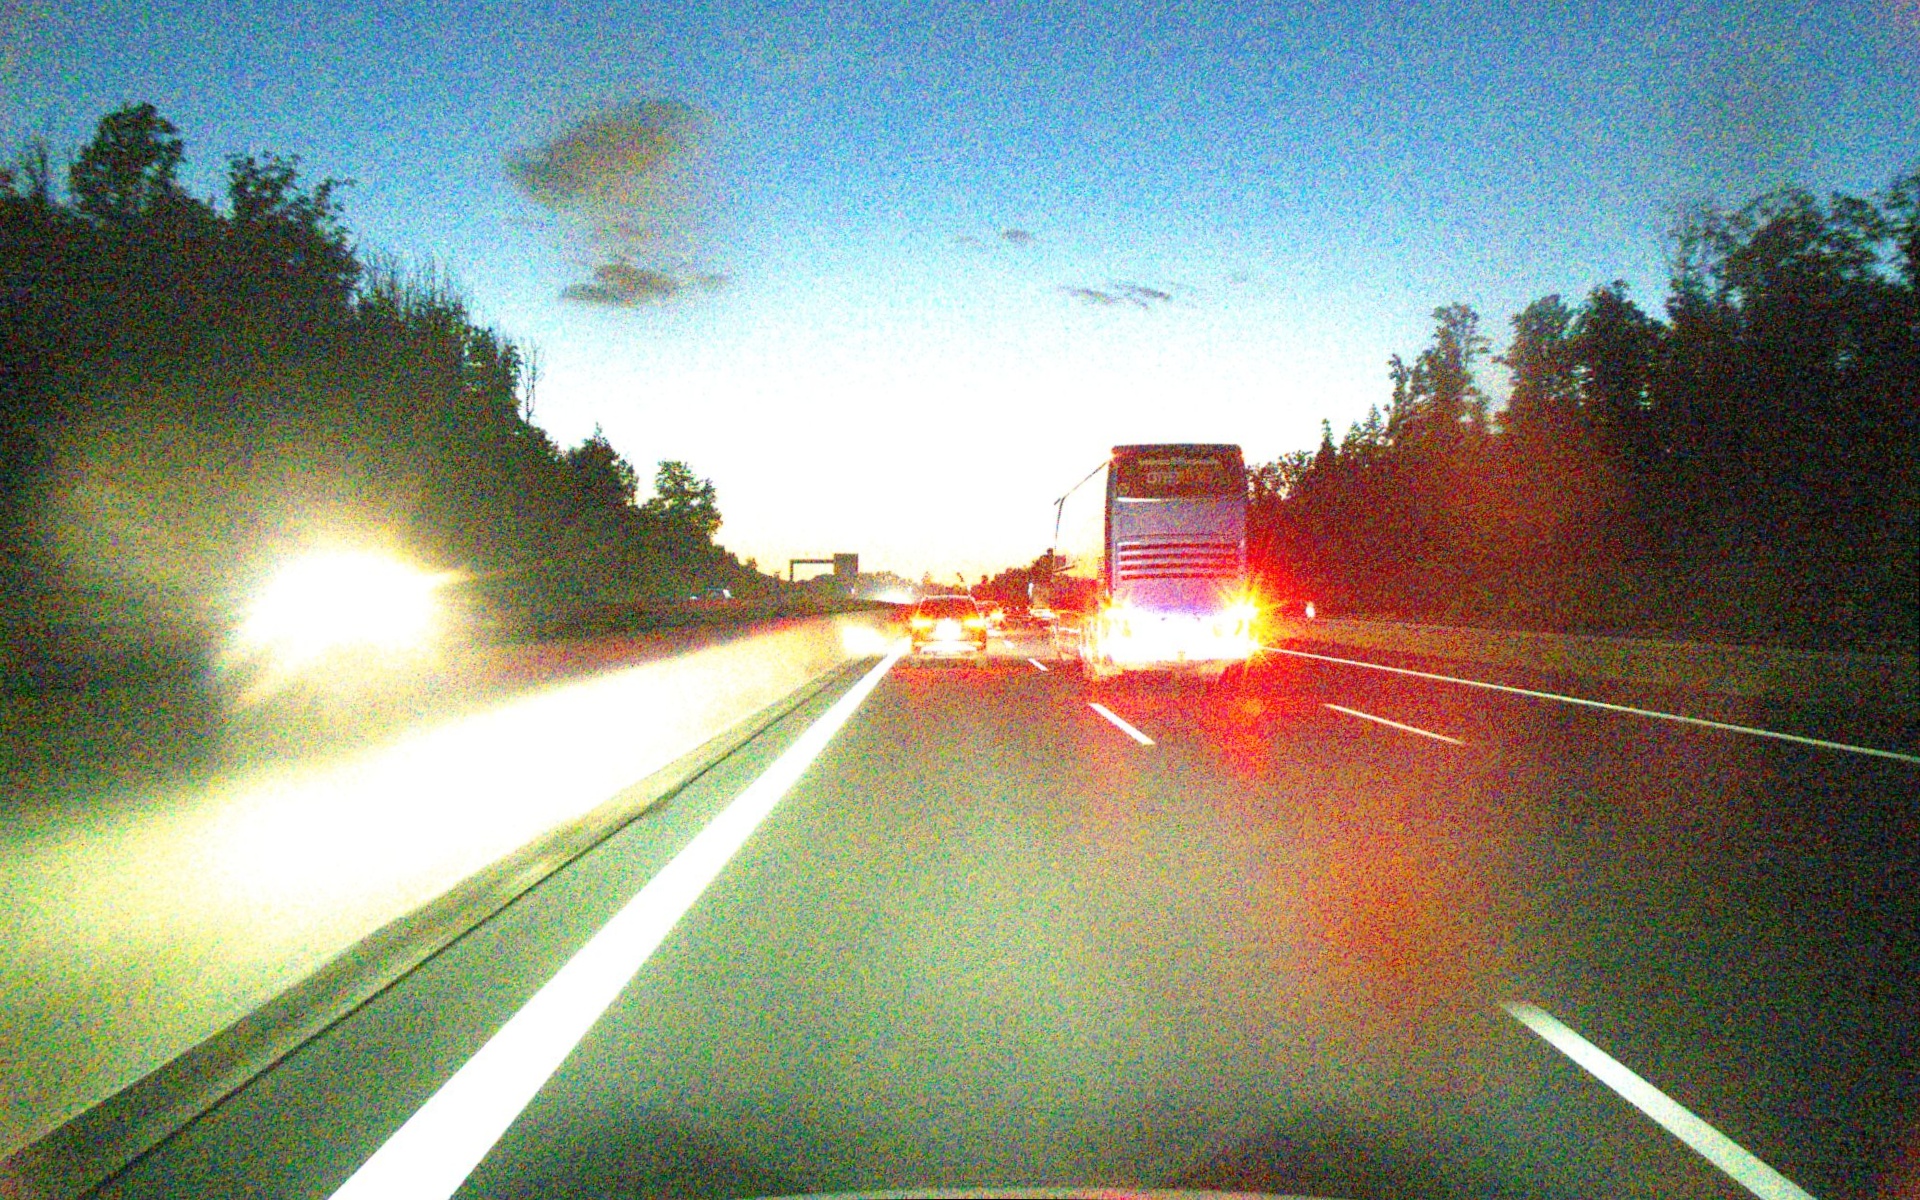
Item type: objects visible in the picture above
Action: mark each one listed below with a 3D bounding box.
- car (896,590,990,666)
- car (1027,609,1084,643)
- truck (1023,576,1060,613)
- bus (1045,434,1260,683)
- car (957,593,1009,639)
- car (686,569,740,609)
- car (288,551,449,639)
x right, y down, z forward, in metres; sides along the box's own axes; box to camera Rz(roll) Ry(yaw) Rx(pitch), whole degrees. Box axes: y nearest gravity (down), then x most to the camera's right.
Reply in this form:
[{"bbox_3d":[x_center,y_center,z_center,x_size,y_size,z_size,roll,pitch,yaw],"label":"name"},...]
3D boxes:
[{"bbox_3d":[-0.435,0.636,38.363,2.063,1.646,4.202,0,-1,-2],"label":"car"},{"bbox_3d":[3.763,1.039,65.518,1.873,1.297,3.998,0,-1,-2],"label":"car"},{"bbox_3d":[6.626,-0.377,135.154,2.550,2.926,7.483,0,0,-1],"label":"truck"},{"bbox_3d":[3.524,-0.597,34.364,2.598,4.064,14.698,0,-1,-1],"label":"bus"},{"bbox_3d":[0.879,0.634,65.846,1.873,1.760,3.998,0,-1,-2],"label":"car"},{"bbox_3d":[-11.999,-0.535,80.626,1.953,1.807,4.747,3,0,-2],"label":"car"},{"bbox_3d":[-13.586,-0.139,38.330,1.953,1.807,5.168,3,0,-2],"label":"car"}]
